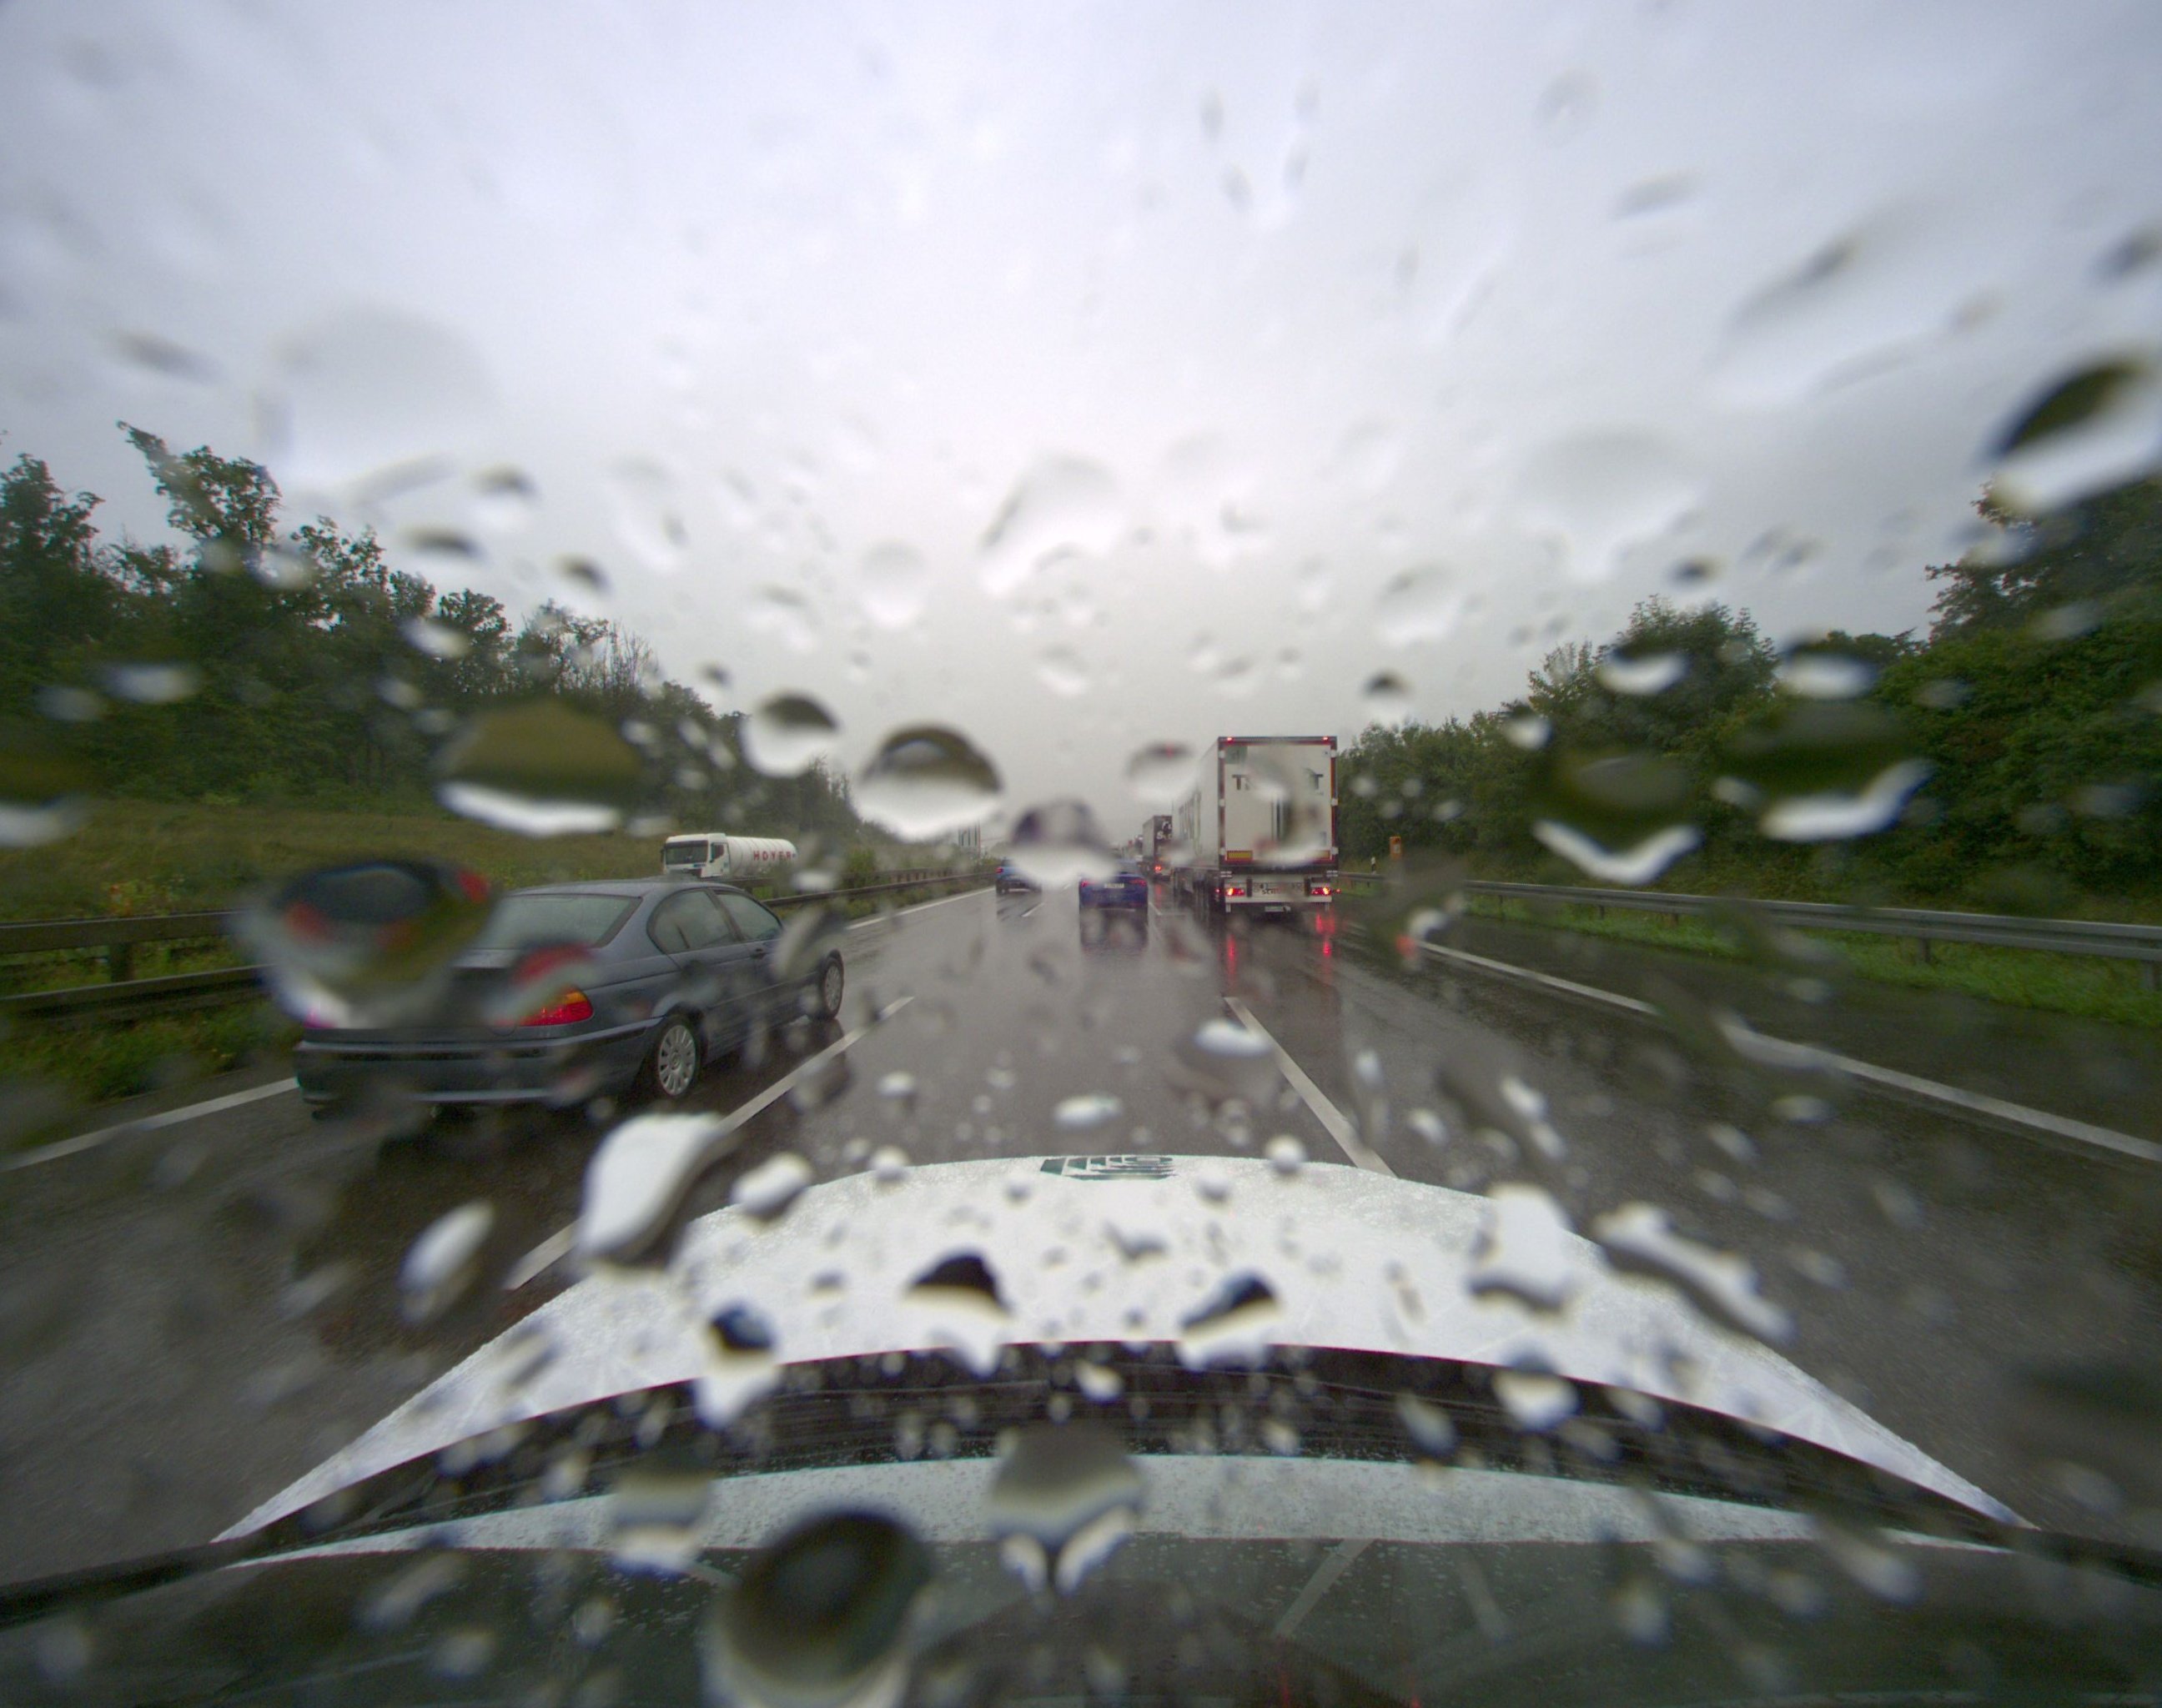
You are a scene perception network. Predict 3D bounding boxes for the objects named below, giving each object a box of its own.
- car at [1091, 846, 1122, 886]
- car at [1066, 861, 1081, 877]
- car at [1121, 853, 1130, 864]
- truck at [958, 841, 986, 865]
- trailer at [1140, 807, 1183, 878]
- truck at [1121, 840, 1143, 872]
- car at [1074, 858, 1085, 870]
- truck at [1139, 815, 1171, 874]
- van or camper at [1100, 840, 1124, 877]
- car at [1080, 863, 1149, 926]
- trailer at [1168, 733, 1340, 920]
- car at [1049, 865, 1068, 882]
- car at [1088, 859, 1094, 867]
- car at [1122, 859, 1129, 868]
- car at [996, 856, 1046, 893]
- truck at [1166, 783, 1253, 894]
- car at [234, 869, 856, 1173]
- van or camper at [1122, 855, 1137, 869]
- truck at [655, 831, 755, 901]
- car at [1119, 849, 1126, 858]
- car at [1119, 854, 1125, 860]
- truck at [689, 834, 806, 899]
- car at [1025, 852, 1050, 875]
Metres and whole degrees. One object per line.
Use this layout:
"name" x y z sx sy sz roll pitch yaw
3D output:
"car" 1.202 0.527 38.276 1.331 1.780 3.323 -1 0 2
"car" -0.836 1.592 87.266 1.434 1.533 3.323 -1 0 2
"car" 7.742 0.759 140.604 1.443 1.784 3.411 -1 -1 2
"truck" -13.293 -0.130 99.691 2.471 2.719 4.531 -3 -2 3
"trailer" 5.240 -0.690 54.324 2.039 4.176 11.453 -1 0 2
"truck" 5.603 0.173 90.034 1.987 3.421 8.033 -1 0 1
"car" -0.220 1.459 123.478 1.443 1.784 3.411 -1 -1 2
"truck" 5.448 -0.707 60.256 2.039 4.193 4.002 -1 0 2
"van or camper" 2.477 0.345 65.824 1.790 2.806 4.770 -1 0 2
"car" 0.896 0.994 21.626 1.629 1.445 4.003 -1 0 3
"trailer" 4.532 -0.614 25.020 2.620 4.013 14.636 -1 0 2
"car" -1.966 1.745 72.640 1.434 1.420 3.323 -1 0 2
"car" 2.330 1.988 187.862 1.443 1.784 3.411 -1 -1 2
"car" 8.375 1.782 152.236 1.244 1.512 3.109 -2 1 2
"car" -2.597 0.879 36.102 1.714 1.523 4.003 -1 0 3
"truck" 4.745 -0.532 30.831 2.620 3.827 4.793 -1 0 2
"car" -3.215 0.857 6.095 1.711 1.400 4.232 -1 0 2
"van or camper" 5.903 0.947 99.730 1.765 1.625 4.486 -1 0 2
"truck" -19.277 0.614 42.099 2.532 3.280 5.199 -3 -1 1
"car" 8.875 -0.042 175.004 1.330 1.890 3.041 -2 0 2
"car" 11.575 0.924 229.252 1.443 1.784 3.411 -1 -1 2
"truck" -19.129 0.777 47.497 2.545 3.298 9.352 -3 -2 2
"car" -2.873 0.616 54.159 1.354 1.431 3.365 -1 0 2
